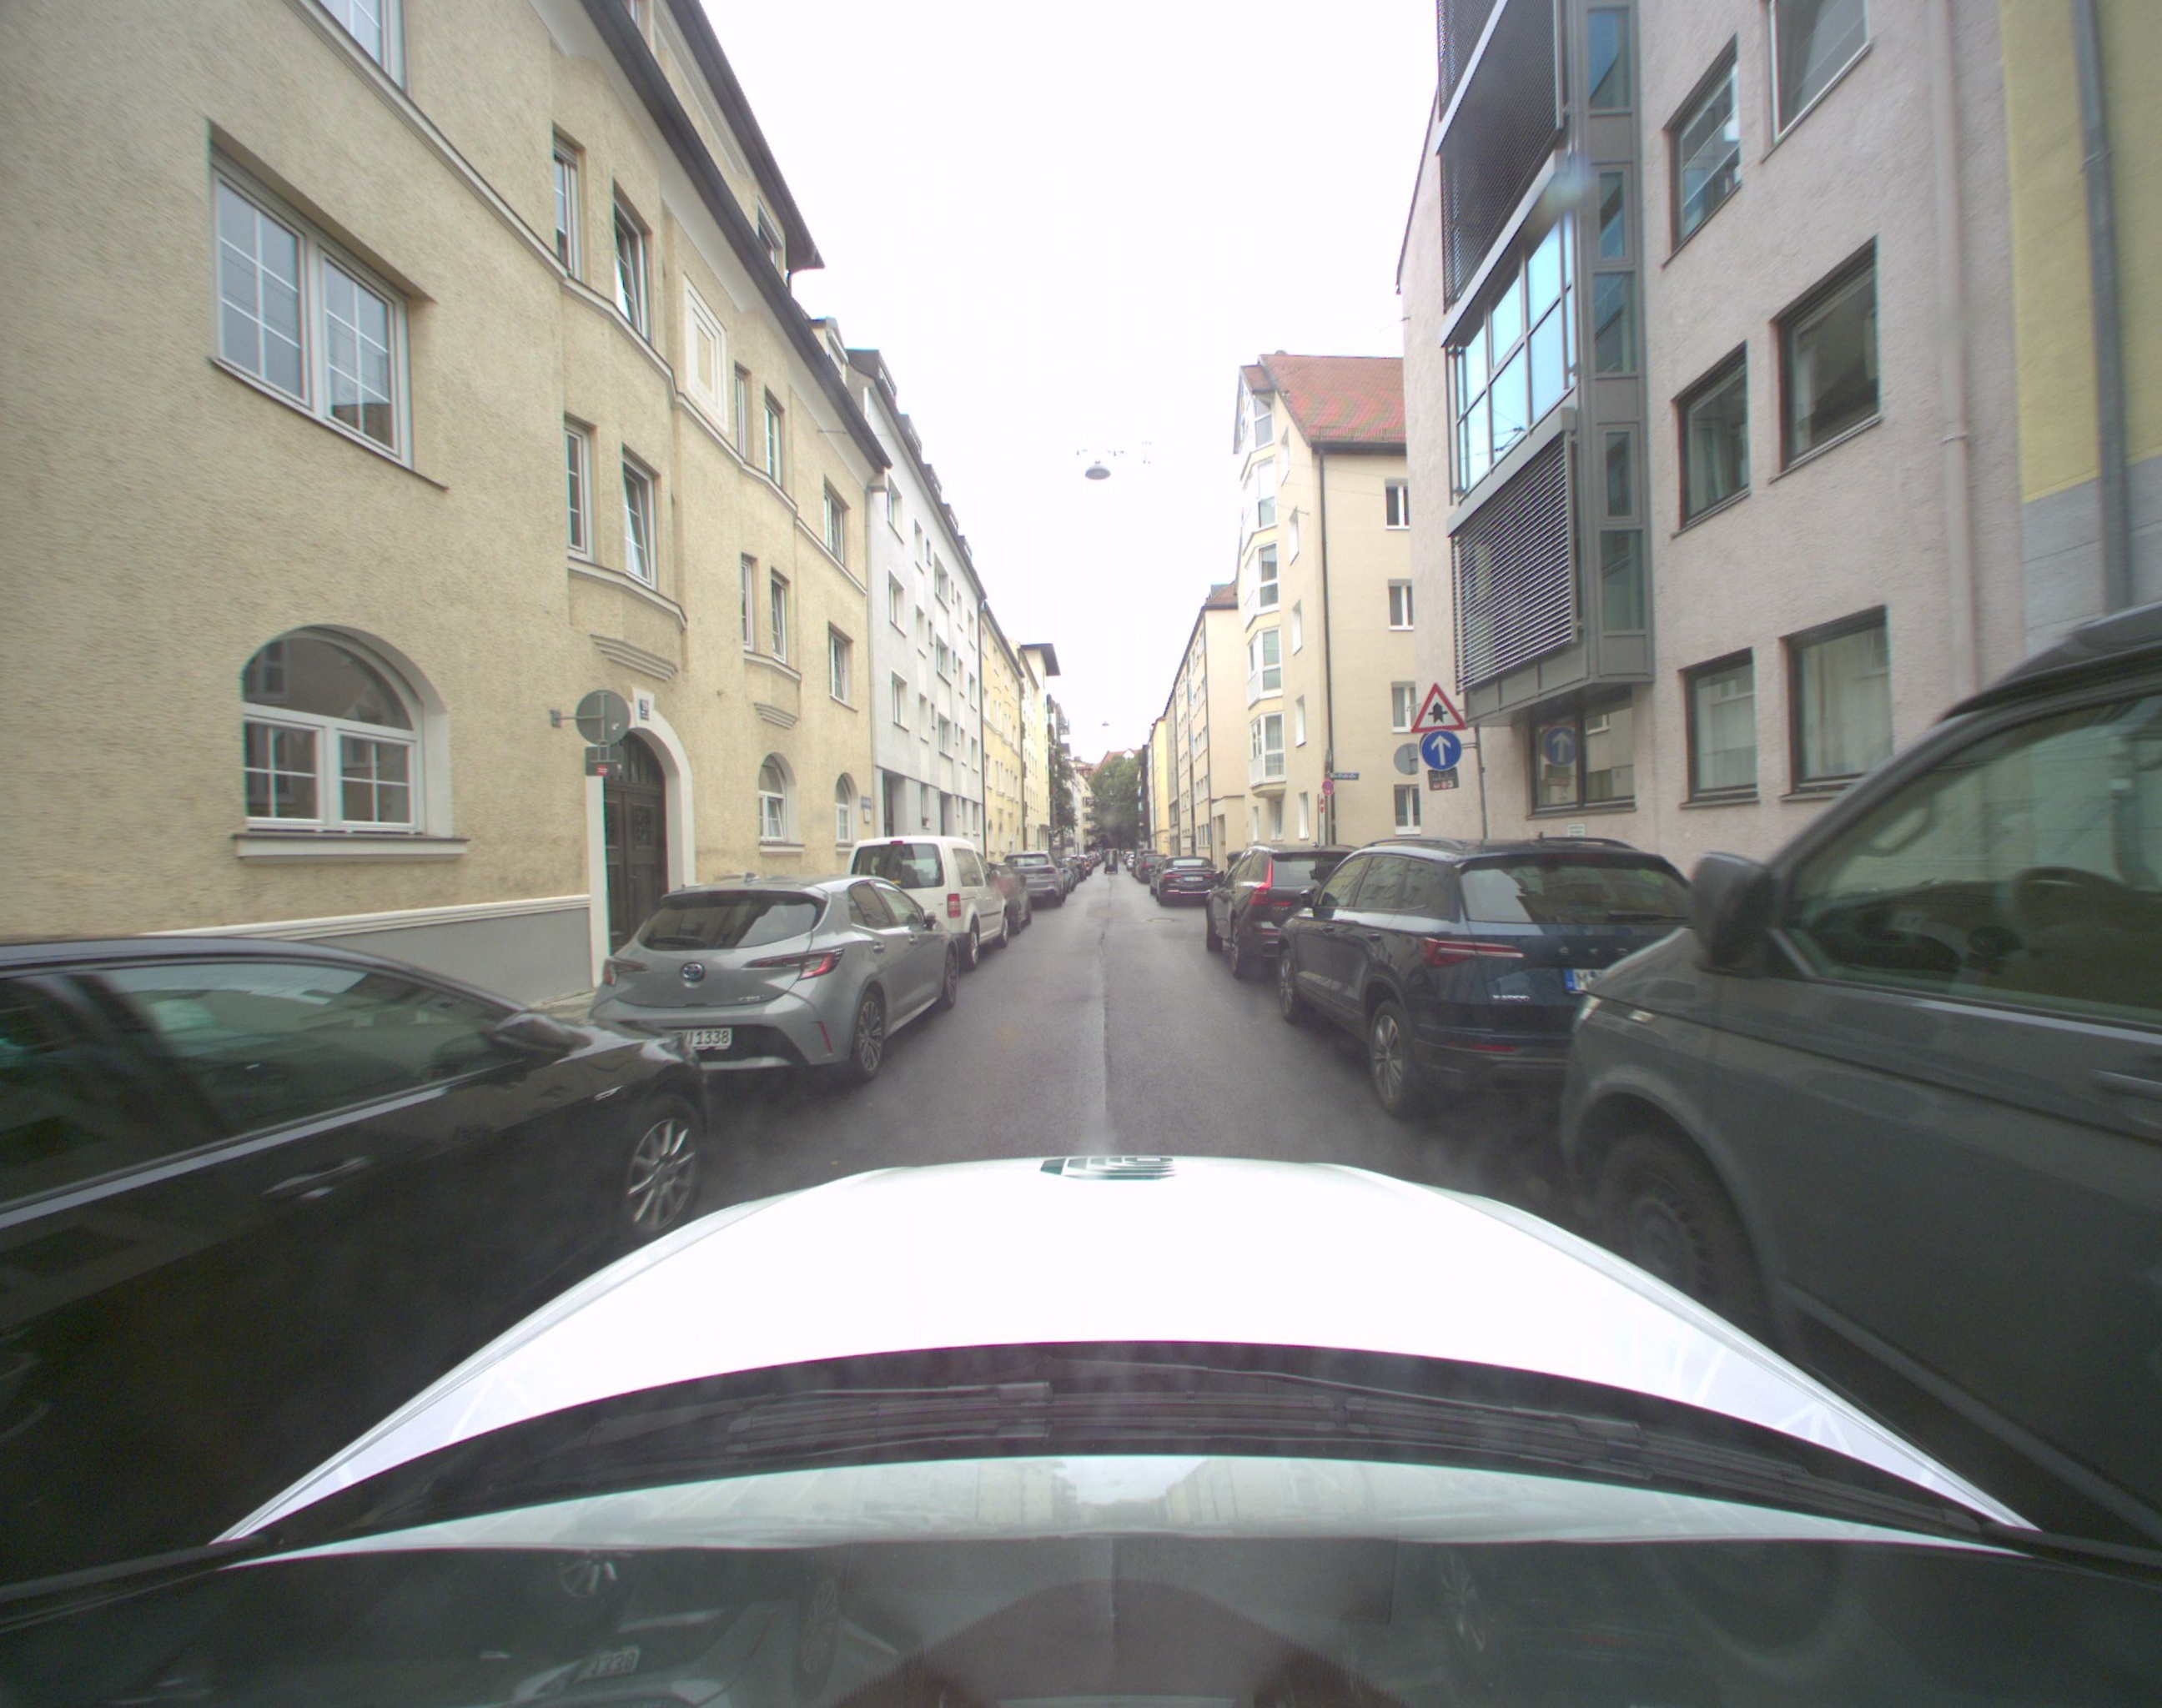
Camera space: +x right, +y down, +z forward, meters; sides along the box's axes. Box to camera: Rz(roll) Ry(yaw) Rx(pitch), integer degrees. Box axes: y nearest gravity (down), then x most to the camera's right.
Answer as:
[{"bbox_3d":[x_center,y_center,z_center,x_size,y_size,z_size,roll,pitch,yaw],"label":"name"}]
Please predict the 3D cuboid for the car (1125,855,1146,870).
[{"bbox_3d":[5.102,0.780,76.313,1.812,1.408,3.953,-2,0,1],"label":"car"}]

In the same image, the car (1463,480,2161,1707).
[{"bbox_3d":[2.532,0.442,0.937,1.866,2.014,5.108,-1,-1,1],"label":"car"}]

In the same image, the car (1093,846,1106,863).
[{"bbox_3d":[3.160,0.084,138.200,1.929,2.801,4.535,-4,0,2],"label":"car"}]

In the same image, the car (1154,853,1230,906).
[{"bbox_3d":[3.247,0.714,24.647,1.826,1.406,4.413,-2,0,2],"label":"car"}]

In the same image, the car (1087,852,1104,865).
[{"bbox_3d":[1.683,0.478,91.493,1.686,1.442,3.945,-2,0,3],"label":"car"}]

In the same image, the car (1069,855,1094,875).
[{"bbox_3d":[0.069,0.859,63.714,1.645,1.435,3.805,-3,0,3],"label":"car"}]

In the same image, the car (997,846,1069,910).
[{"bbox_3d":[-1.447,0.714,26.105,1.856,1.770,4.736,-4,0,1],"label":"car"}]

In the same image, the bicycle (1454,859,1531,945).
[{"bbox_3d":[5.848,0.645,11.651,0.355,1.122,1.544,-2,0,3],"label":"bicycle"}]

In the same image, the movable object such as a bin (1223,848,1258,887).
[{"bbox_3d":[6.228,0.533,31.979,1.028,1.423,1.587,-4,-1,2],"label":"movable object such as a bin"}]

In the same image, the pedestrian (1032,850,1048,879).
[{"bbox_3d":[-2.512,0.647,49.791,0.836,1.764,1.068,-1,0,2],"label":"pedestrian"}]

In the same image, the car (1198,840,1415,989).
[{"bbox_3d":[2.779,0.675,11.121,1.826,1.621,4.412,-1,0,1],"label":"car"}]

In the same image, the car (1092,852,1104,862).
[{"bbox_3d":[2.581,0.444,123.554,1.770,1.452,4.048,-4,0,2],"label":"car"}]

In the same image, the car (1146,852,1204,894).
[{"bbox_3d":[3.537,0.686,31.310,1.711,1.471,4.531,-1,0,0],"label":"car"}]

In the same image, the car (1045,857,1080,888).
[{"bbox_3d":[-0.922,0.906,41.894,1.557,1.460,3.764,-3,0,1],"label":"car"}]

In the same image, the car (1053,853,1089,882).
[{"bbox_3d":[-0.565,0.819,51.496,1.871,1.660,4.419,-3,0,4],"label":"car"}]

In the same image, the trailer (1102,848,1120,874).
[{"bbox_3d":[2.492,0.604,67.907,1.350,2.116,3.320,-2,-1,3],"label":"trailer"}]

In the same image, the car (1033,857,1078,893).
[{"bbox_3d":[-1.084,0.883,35.889,1.556,1.460,3.408,-3,0,4],"label":"car"}]

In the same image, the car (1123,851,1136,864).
[{"bbox_3d":[6.372,0.419,106.988,1.675,1.567,4.419,-2,0,3],"label":"car"}]

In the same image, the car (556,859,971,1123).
[{"bbox_3d":[-2.188,0.855,6.925,1.665,1.475,4.114,-4,-1,3],"label":"car"}]

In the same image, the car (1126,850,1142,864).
[{"bbox_3d":[6.246,0.345,96.454,1.744,1.469,4.345,-2,0,2],"label":"car"}]

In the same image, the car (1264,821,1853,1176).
[{"bbox_3d":[2.688,0.673,5.925,1.826,1.621,4.325,-1,0,1],"label":"car"}]

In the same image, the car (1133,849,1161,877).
[{"bbox_3d":[4.994,0.641,61.775,1.745,1.975,4.343,-2,0,1],"label":"car"}]

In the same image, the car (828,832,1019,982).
[{"bbox_3d":[-2.159,0.674,12.392,1.716,1.789,4.253,-4,0,4],"label":"car"}]

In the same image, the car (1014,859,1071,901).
[{"bbox_3d":[-1.391,0.946,31.100,1.805,1.386,4.251,-4,0,1],"label":"car"}]

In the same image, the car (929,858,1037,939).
[{"bbox_3d":[-1.939,0.863,17.133,1.646,1.411,3.736,-4,-1,2],"label":"car"}]

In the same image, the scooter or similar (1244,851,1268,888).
[{"bbox_3d":[6.367,0.558,29.624,0.574,1.266,1.137,-4,-1,2],"label":"scooter or similar"}]

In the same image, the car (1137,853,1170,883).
[{"bbox_3d":[4.062,0.793,46.141,1.705,1.608,4.247,-1,0,2],"label":"car"}]

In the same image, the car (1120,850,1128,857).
[{"bbox_3d":[9.654,-0.127,183.638,1.636,1.383,3.748,1,0,2],"label":"car"}]

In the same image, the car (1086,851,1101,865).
[{"bbox_3d":[1.654,0.495,105.319,1.770,1.629,4.417,-3,0,2],"label":"car"}]

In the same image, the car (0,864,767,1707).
[{"bbox_3d":[-2.399,0.846,1.938,1.622,1.475,3.843,-4,0,2],"label":"car"}]

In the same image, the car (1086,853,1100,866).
[{"bbox_3d":[1.468,0.605,99.552,1.687,1.442,3.978,-3,0,1],"label":"car"}]

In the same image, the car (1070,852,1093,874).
[{"bbox_3d":[0.057,0.737,69.215,1.759,1.675,4.369,-3,0,2],"label":"car"}]
